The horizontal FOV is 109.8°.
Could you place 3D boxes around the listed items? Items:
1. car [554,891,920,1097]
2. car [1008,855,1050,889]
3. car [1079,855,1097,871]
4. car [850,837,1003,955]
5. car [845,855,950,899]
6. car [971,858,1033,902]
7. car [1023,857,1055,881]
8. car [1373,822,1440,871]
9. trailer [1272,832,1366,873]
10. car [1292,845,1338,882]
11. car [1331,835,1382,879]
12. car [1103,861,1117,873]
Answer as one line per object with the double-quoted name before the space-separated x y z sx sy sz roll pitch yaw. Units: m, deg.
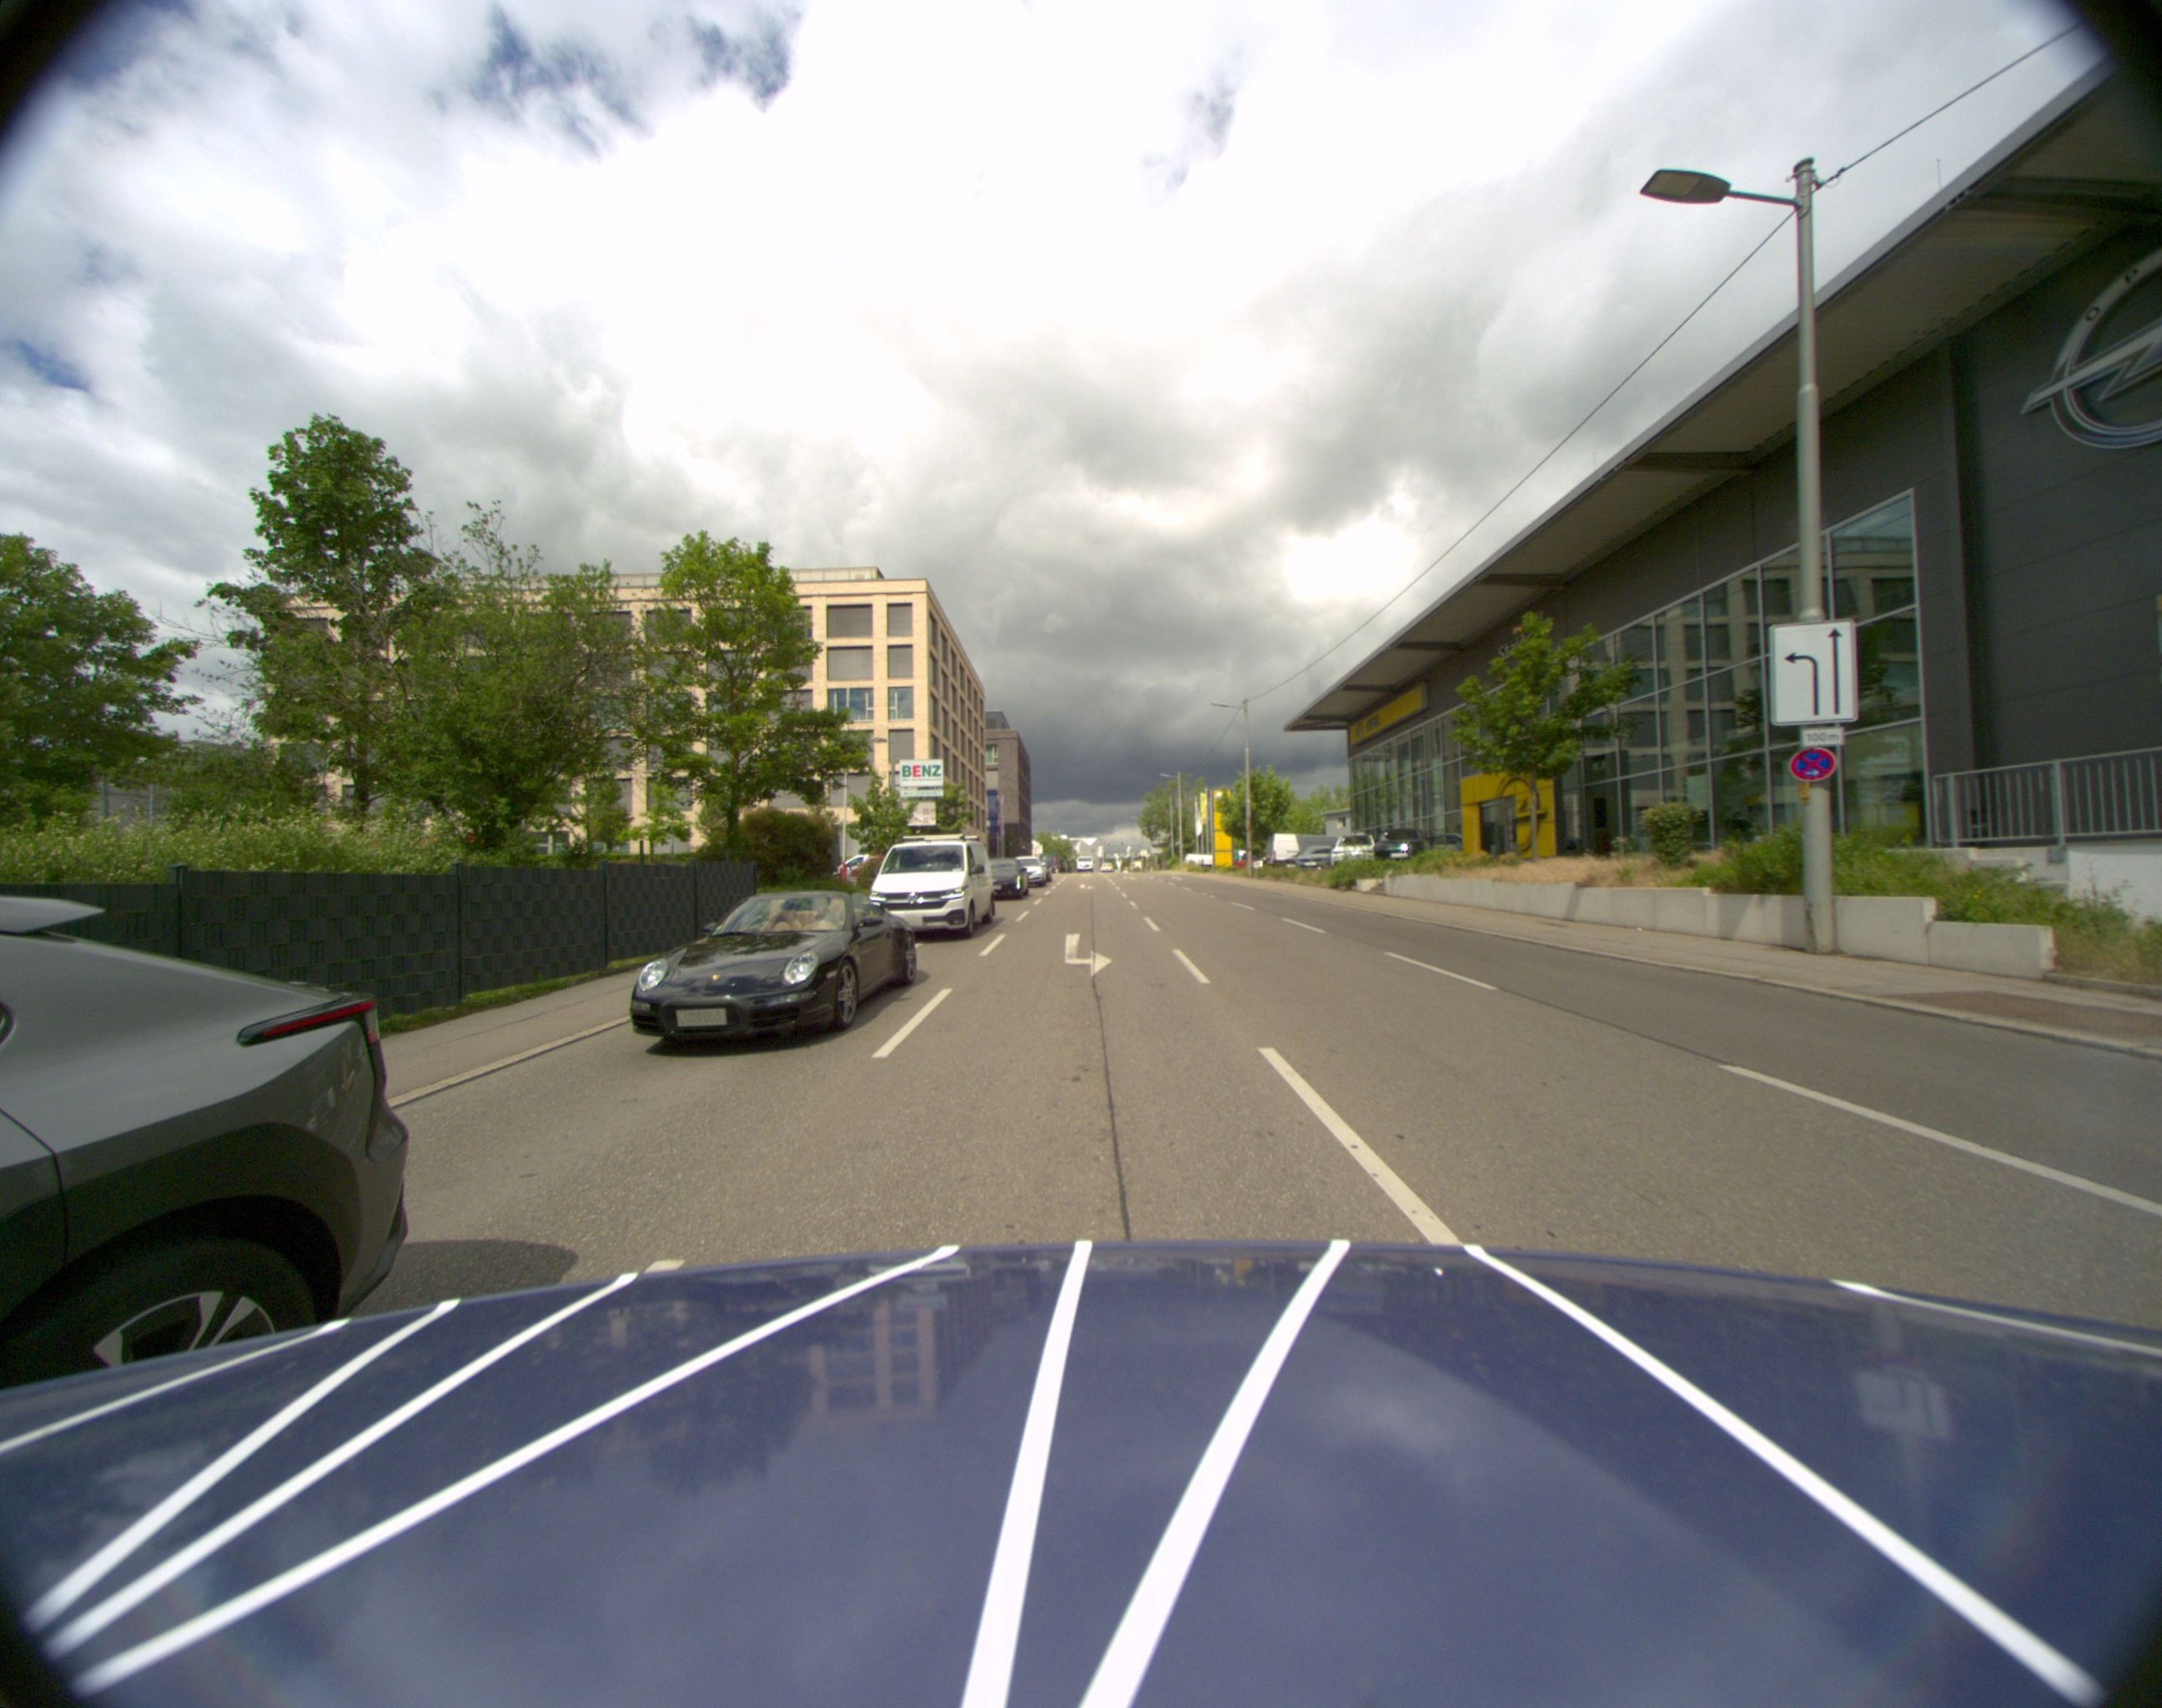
"car" -3.040 1.163 7.791 1.824 1.286 4.038 -2 0 1
"car" -2.584 0.884 38.547 1.818 1.577 4.000 -1 0 1
"car" 0.879 1.097 92.373 1.998 1.819 4.547 -2 0 2
"car" -3.015 0.737 16.008 2.089 2.037 4.760 -2 0 1
"car" -7.621 0.951 31.830 3.998 1.723 1.822 -1 1 -3
"car" -2.823 0.909 28.006 1.818 1.454 4.000 -1 0 1
"car" -2.483 0.887 45.941 1.662 1.351 4.000 -1 0 1
"car" 12.341 -0.268 29.043 1.996 1.718 4.005 -1 0 18
"trailer" 14.462 -0.097 46.286 5.074 2.336 2.000 -1 1 -1
"car" 12.116 0.446 39.128 1.995 1.783 4.006 -1 0 21
"car" 12.175 0.110 33.554 1.995 1.783 4.006 -1 0 21
"car" 4.481 2.012 116.994 1.998 1.731 4.547 -2 0 1
